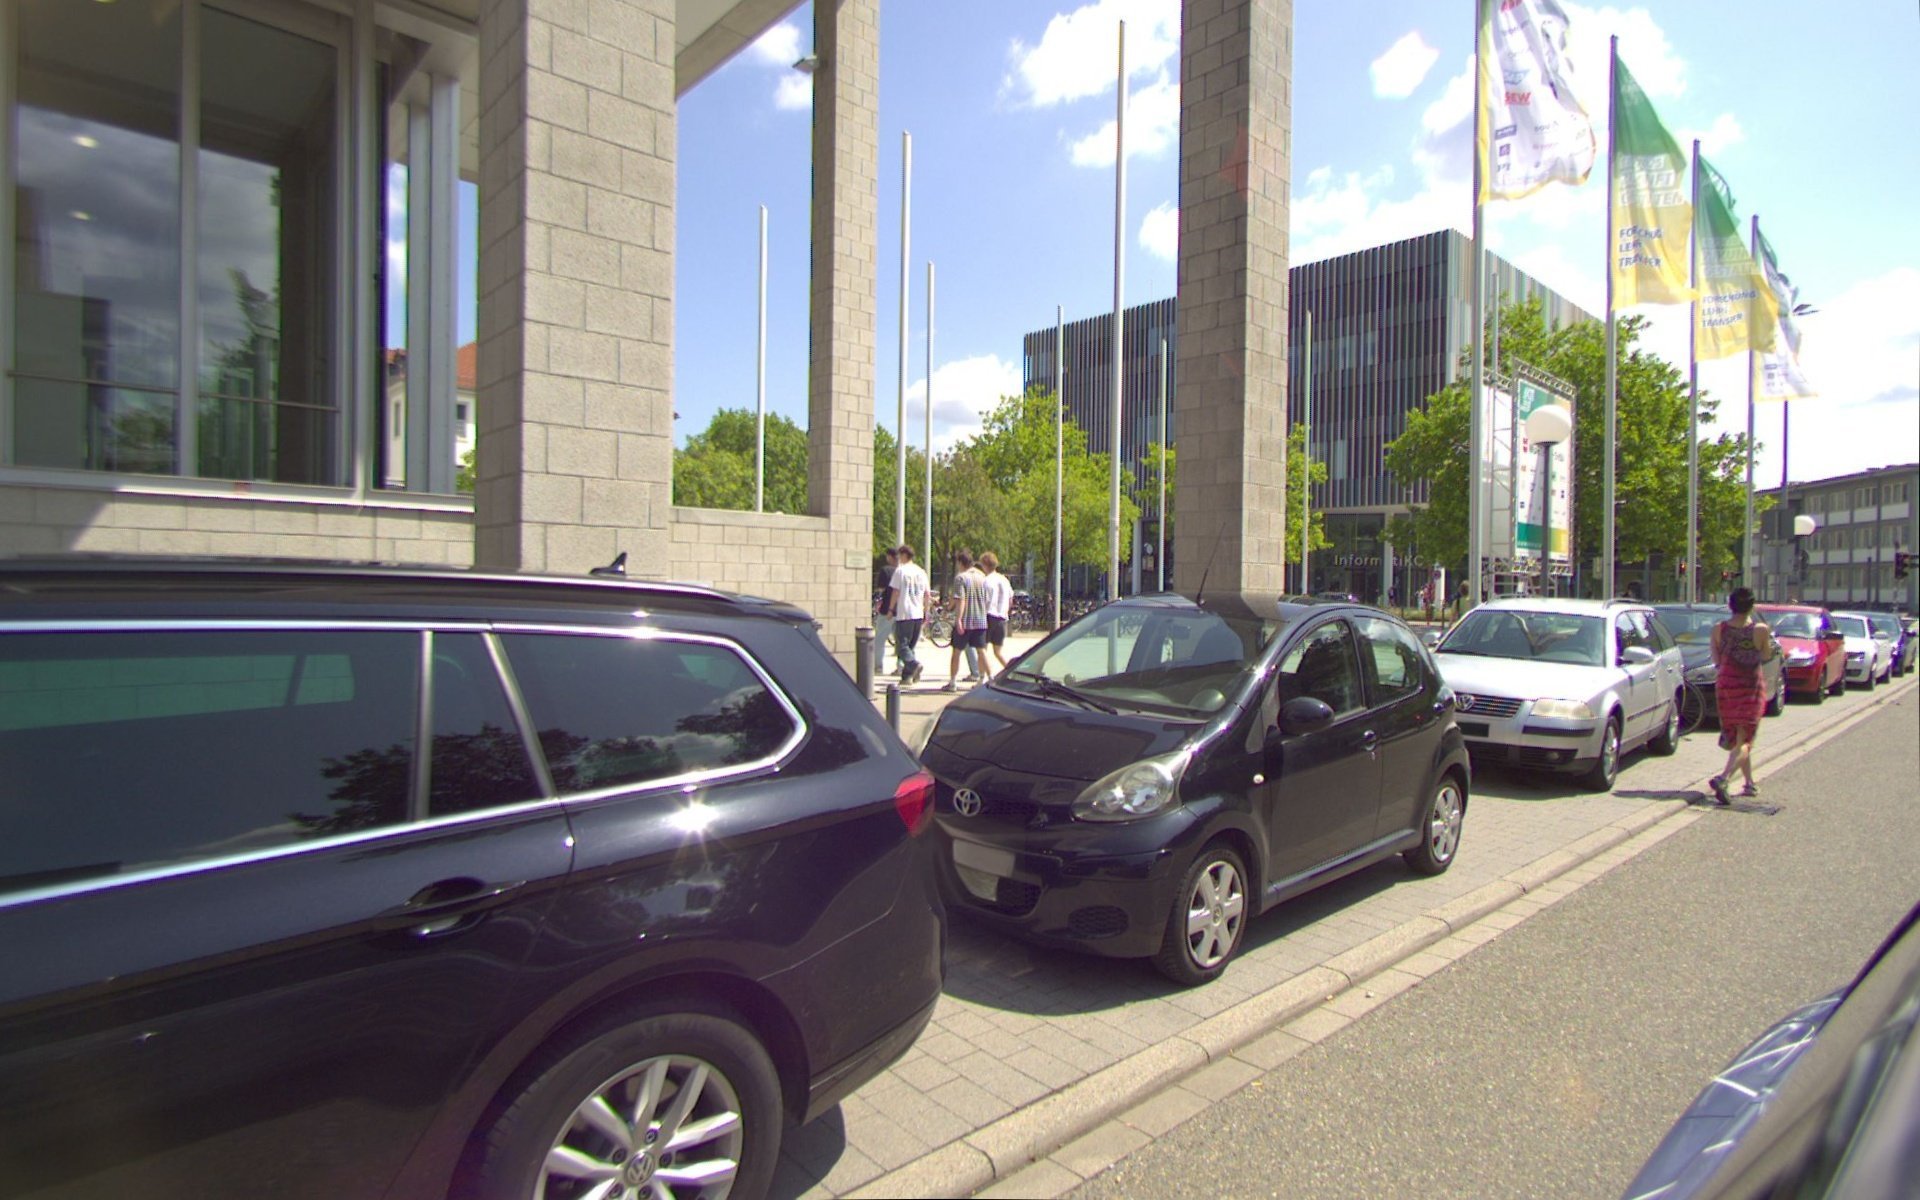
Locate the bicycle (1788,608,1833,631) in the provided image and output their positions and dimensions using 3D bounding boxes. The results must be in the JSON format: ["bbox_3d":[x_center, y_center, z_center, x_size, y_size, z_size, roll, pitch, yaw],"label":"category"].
[{"bbox_3d":[44.407,0.995,52.881,1.653,1.138,0.690,1,1,24],"label":"bicycle"}]

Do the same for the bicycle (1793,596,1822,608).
[{"bbox_3d":[72.572,0.162,86.685,1.751,0.967,0.526,1,2,21],"label":"bicycle"}]

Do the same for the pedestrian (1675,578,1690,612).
[{"bbox_3d":[39.641,-0.267,55.506,0.628,1.865,0.474,1,1,34],"label":"pedestrian"}]

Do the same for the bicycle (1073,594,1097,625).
[{"bbox_3d":[4.829,0.351,39.039,0.596,1.112,1.759,0,2,17],"label":"bicycle"}]

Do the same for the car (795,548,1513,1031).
[{"bbox_3d":[1.262,0.581,5.137,3.940,1.515,1.615,0,1,-44],"label":"car"}]

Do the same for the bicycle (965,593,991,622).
[{"bbox_3d":[0.724,0.280,40.676,0.596,1.113,1.758,0,0,17],"label":"bicycle"}]

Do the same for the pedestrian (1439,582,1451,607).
[{"bbox_3d":[35.852,-0.418,74.824,0.783,1.865,0.511,0,0,32],"label":"pedestrian"}]

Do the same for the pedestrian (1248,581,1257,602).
[{"bbox_3d":[25.865,-0.736,89.544,0.552,1.865,0.554,1,1,41],"label":"pedestrian"}]

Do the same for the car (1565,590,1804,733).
[{"bbox_3d":[9.495,0.670,13.160,3.931,1.548,1.722,0,1,-42],"label":"car"}]

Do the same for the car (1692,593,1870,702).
[{"bbox_3d":[13.732,0.703,16.856,4.075,1.515,1.617,0,3,-42],"label":"car"}]

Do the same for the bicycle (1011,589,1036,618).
[{"bbox_3d":[2.566,0.136,40.531,0.596,1.112,1.758,1,1,17],"label":"bicycle"}]

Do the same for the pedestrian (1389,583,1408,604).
[{"bbox_3d":[35.569,-0.501,82.125,1.162,1.671,1.013,0,1,-42],"label":"pedestrian"}]

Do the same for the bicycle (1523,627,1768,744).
[{"bbox_3d":[7.733,0.911,11.510,0.888,1.092,2.150,1,1,-42],"label":"bicycle"}]

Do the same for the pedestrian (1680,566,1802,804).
[{"bbox_3d":[6.168,0.615,7.986,0.623,1.738,1.024,1,1,44],"label":"pedestrian"}]

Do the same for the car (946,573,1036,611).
[{"bbox_3d":[1.636,-0.472,54.283,1.873,1.888,4.929,-1,2,-44],"label":"car"}]

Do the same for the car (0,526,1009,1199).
[{"bbox_3d":[-2.134,0.631,1.709,4.443,1.483,1.868,0,1,-43],"label":"car"}]

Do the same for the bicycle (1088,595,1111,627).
[{"bbox_3d":[5.271,0.395,38.193,0.596,1.112,1.759,0,2,17],"label":"bicycle"}]

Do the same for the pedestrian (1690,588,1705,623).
[{"bbox_3d":[40.170,0.284,55.127,0.573,1.865,0.409,1,1,43],"label":"pedestrian"}]

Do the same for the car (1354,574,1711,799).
[{"bbox_3d":[5.494,0.601,9.405,1.720,1.548,4.492,4,3,45],"label":"car"}]

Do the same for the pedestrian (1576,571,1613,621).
[{"bbox_3d":[25.383,-0.159,40.479,1.156,1.842,0.855,5,-1,-43],"label":"pedestrian"}]

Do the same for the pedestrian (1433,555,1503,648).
[{"bbox_3d":[9.951,0.018,19.817,0.984,1.762,0.919,0,1,-42],"label":"pedestrian"}]

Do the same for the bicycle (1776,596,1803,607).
[{"bbox_3d":[73.466,0.127,89.621,1.751,0.967,0.526,1,2,21],"label":"bicycle"}]

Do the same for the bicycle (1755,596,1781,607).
[{"bbox_3d":[74.408,0.113,93.236,1.751,0.967,0.526,1,2,21],"label":"bicycle"}]

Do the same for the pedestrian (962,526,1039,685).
[{"bbox_3d":[0.514,0.063,12.885,0.583,1.950,0.784,0,0,-44],"label":"pedestrian"}]

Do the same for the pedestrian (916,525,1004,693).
[{"bbox_3d":[0.002,0.096,12.313,0.722,1.950,0.783,0,0,-42],"label":"pedestrian"}]

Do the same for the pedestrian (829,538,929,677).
[{"bbox_3d":[-1.200,0.090,14.896,1.003,1.944,1.097,0,0,-41],"label":"pedestrian"}]

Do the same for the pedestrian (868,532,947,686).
[{"bbox_3d":[-0.685,0.107,13.273,0.721,1.950,0.741,1,0,35],"label":"pedestrian"}]

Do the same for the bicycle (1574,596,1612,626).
[{"bbox_3d":[25.350,0.447,40.498,1.859,1.086,0.816,4,-1,-43],"label":"bicycle"}]

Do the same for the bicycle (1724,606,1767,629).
[{"bbox_3d":[41.797,0.930,53.863,1.650,1.138,0.690,1,1,21],"label":"bicycle"}]

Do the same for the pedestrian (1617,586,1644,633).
[{"bbox_3d":[26.258,0.374,39.632,0.598,1.824,0.597,2,-1,-14],"label":"pedestrian"}]

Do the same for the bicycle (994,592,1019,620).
[{"bbox_3d":[1.891,0.220,40.833,0.596,1.113,1.758,0,0,17],"label":"bicycle"}]

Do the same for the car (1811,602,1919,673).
[{"bbox_3d":[21.705,0.813,23.973,4.864,1.417,1.721,0,3,-43],"label":"car"}]

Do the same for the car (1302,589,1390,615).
[{"bbox_3d":[23.908,0.100,62.776,1.966,1.548,4.707,0,1,-42],"label":"car"}]

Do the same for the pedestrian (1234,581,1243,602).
[{"bbox_3d":[25.040,-0.785,90.951,0.552,1.865,0.554,1,1,41],"label":"pedestrian"}]

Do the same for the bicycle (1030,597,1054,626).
[{"bbox_3d":[3.301,0.438,40.751,0.596,1.112,1.758,0,1,17],"label":"bicycle"}]

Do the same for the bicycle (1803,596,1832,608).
[{"bbox_3d":[72.328,0.198,85.398,1.751,0.967,0.526,1,2,21],"label":"bicycle"}]

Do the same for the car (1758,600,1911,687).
[{"bbox_3d":[17.338,0.770,19.992,4.363,1.417,1.721,0,4,-42],"label":"car"}]

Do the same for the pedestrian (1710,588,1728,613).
[{"bbox_3d":[55.867,0.030,74.486,0.827,1.812,0.678,0,0,-2],"label":"pedestrian"}]

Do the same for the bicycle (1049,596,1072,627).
[{"bbox_3d":[4.014,0.450,40.300,0.596,1.112,1.759,0,2,17],"label":"bicycle"}]
